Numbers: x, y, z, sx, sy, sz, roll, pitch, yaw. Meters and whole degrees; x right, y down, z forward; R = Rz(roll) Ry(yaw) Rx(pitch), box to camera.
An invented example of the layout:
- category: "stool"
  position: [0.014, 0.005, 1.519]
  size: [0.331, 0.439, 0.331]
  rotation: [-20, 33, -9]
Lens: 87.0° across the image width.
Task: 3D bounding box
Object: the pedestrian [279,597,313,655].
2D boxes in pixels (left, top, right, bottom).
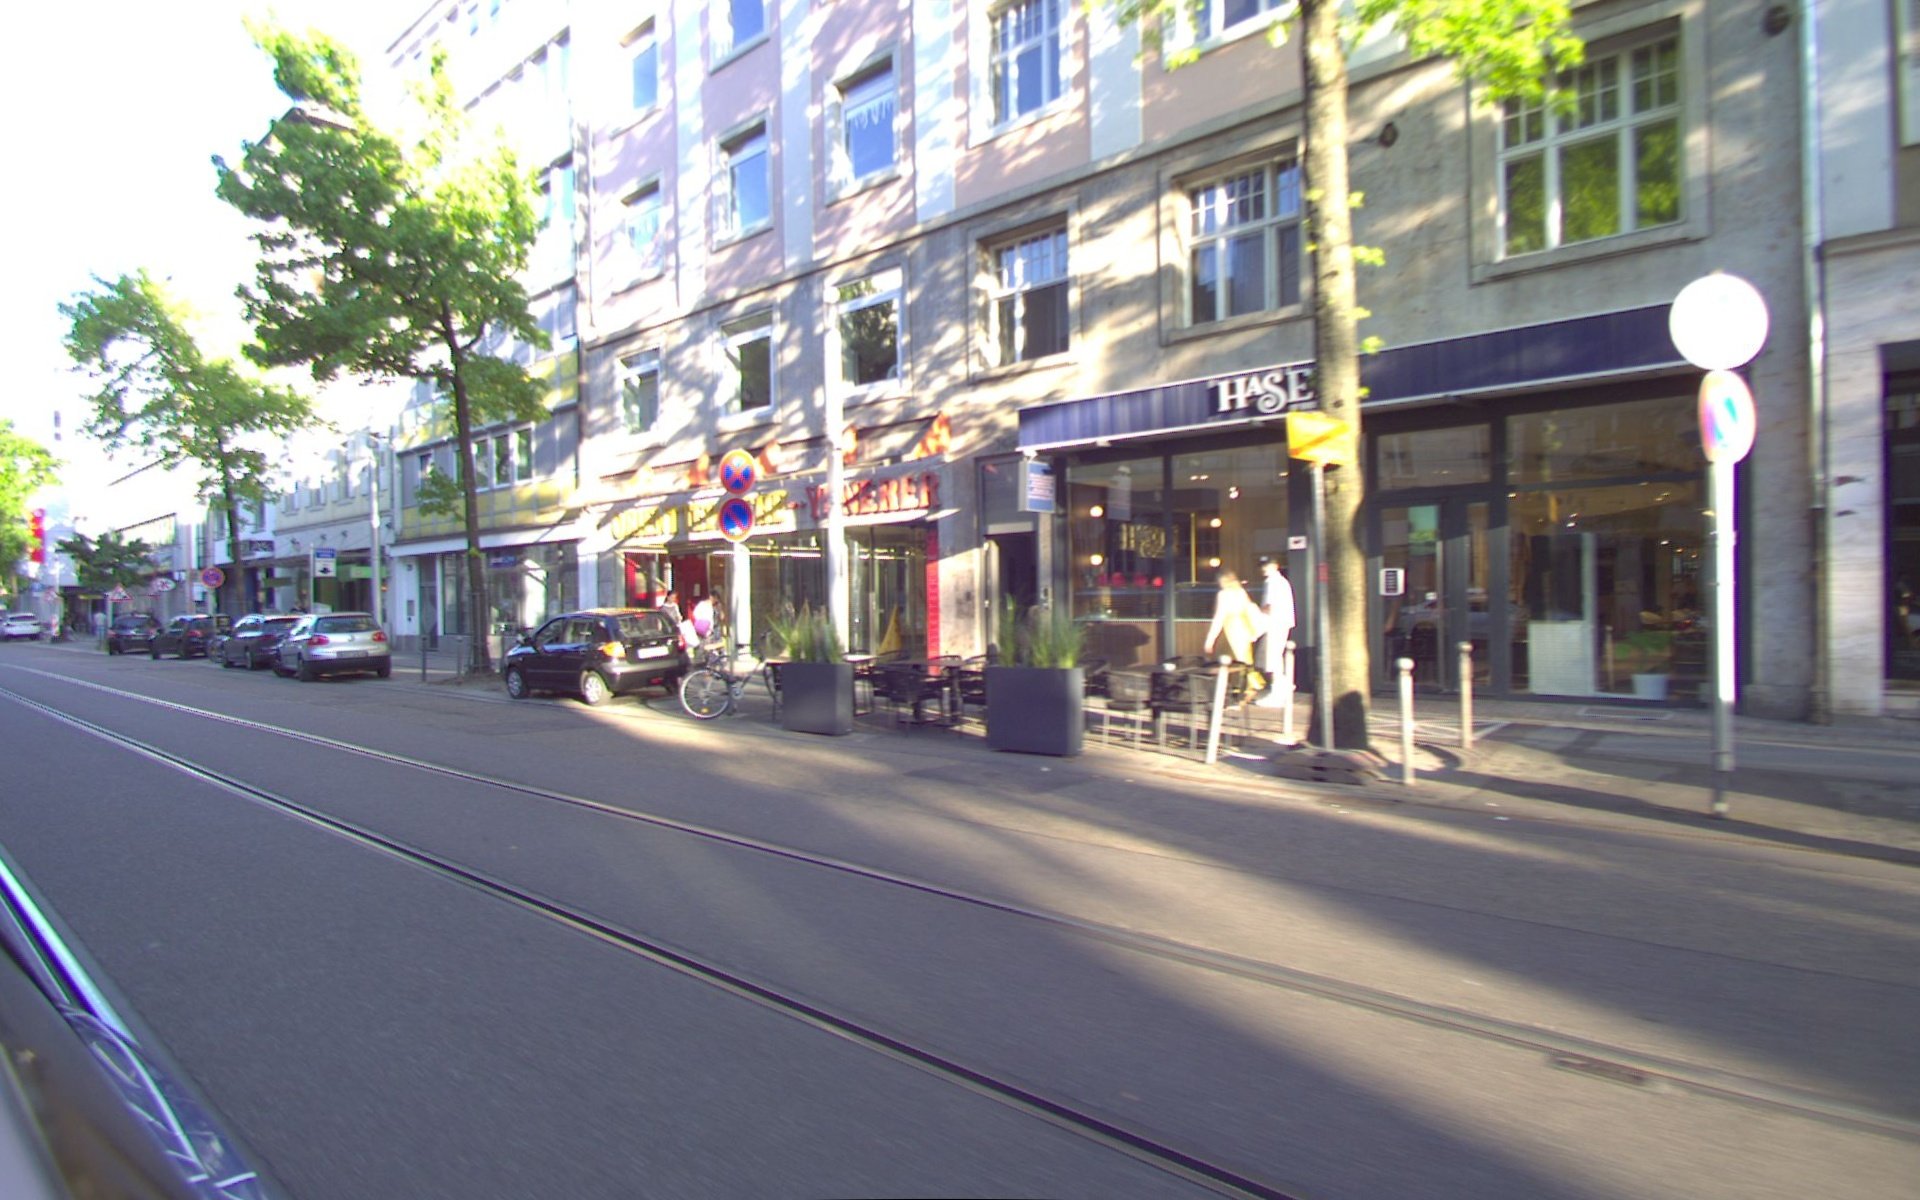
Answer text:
- category: "pedestrian"
  position: [-21.990, 0.859, 33.529]
  size: [0.878, 1.839, 0.653]
  rotation: [-2, 2, 41]

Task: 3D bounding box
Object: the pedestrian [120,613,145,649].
- category: "pedestrian"
  position: [-41.557, 1.572, 50.831]
  size: [0.831, 1.779, 0.842]
  rotation: [-2, -1, 39]

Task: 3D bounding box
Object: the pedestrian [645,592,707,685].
- category: "pedestrian"
  position: [-5.330, 0.710, 18.996]
  size: [0.740, 1.706, 0.835]
  rotation: [-2, -1, 40]

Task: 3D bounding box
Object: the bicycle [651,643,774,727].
- category: "bicycle"
  position: [-3.365, 1.133, 13.863]
  size: [1.597, 0.972, 0.433]
  rotation: [-3, 1, -44]

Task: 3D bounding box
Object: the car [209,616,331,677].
- category: "car"
  position: [-19.039, 1.228, 27.866]
  size: [4.484, 1.472, 1.694]
  rotation: [-1, 1, 42]

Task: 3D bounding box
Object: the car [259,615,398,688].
- category: "car"
  position: [-14.590, 1.110, 23.295]
  size: [4.176, 1.508, 1.747]
  rotation: [-1, 0, 44]

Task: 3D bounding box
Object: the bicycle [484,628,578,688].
- category: "bicycle"
  position: [-8.622, 1.143, 20.390]
  size: [0.439, 1.073, 1.795]
  rotation: [-2, 0, 33]

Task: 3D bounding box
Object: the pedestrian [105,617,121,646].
- category: "pedestrian"
  position: [-50.020, 1.859, 59.761]
  size: [0.808, 1.725, 0.620]
  rotation: [-2, 0, 45]

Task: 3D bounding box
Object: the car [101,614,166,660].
- category: "car"
  position: [-32.661, 1.433, 40.057]
  size: [1.608, 1.628, 3.718]
  rotation: [-3, 1, -34]

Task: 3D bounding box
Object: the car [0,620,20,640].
- category: "car"
  position: [-79.980, 2.556, 83.271]
  size: [1.775, 1.572, 3.380]
  rotation: [-1, 2, 18]

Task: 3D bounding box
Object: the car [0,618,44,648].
- category: "car"
  position: [-59.917, 2.093, 64.250]
  size: [4.741, 1.767, 1.973]
  rotation: [-2, 1, 41]

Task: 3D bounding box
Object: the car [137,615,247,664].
- category: "car"
  position: [-26.303, 1.335, 34.604]
  size: [4.233, 1.501, 1.776]
  rotation: [-1, 1, 35]

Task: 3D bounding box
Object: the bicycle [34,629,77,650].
- category: "bicycle"
  position: [-51.033, 2.214, 57.122]
  size: [1.724, 0.999, 0.479]
  rotation: [-5, 2, -42]

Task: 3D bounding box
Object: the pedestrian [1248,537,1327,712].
- category: "pedestrian"
  position: [3.963, 0.290, 12.233]
  size: [0.642, 2.029, 0.714]
  rotation: [-2, -1, 41]

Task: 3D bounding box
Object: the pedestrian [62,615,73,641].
- category: "pedestrian"
  position: [-70.994, 2.213, 80.489]
  size: [0.592, 2.029, 0.608]
  rotation: [-2, -1, 40]

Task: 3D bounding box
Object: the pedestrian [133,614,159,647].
- category: "pedestrian"
  position: [-43.594, 1.608, 54.199]
  size: [1.037, 1.708, 0.824]
  rotation: [-2, 2, 41]

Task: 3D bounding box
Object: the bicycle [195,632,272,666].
- category: "bicycle"
  position: [-22.828, 1.528, 31.823]
  size: [0.330, 1.009, 1.949]
  rotation: [-2, -1, 43]

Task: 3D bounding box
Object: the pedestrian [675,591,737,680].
- category: "pedestrian"
  position: [-5.021, 0.683, 20.000]
  size: [0.913, 1.706, 0.781]
  rotation: [-2, -1, 40]

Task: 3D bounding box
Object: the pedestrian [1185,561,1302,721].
- category: "pedestrian"
  position: [3.302, 0.458, 11.808]
  size: [1.089, 1.773, 0.714]
  rotation: [-2, -1, 41]

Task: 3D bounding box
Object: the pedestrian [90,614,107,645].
- category: "pedestrian"
  position: [-49.283, 1.676, 57.902]
  size: [0.829, 1.725, 0.634]
  rotation: [-2, 0, 45]

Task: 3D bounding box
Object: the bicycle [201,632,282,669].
- category: "bicycle"
  position: [-21.676, 1.513, 30.568]
  size: [0.330, 1.009, 1.949]
  rotation: [-2, -1, 43]

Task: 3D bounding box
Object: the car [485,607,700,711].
- category: "car"
  position: [-6.169, 0.916, 16.823]
  size: [3.825, 1.439, 1.649]
  rotation: [-1, 2, 41]
